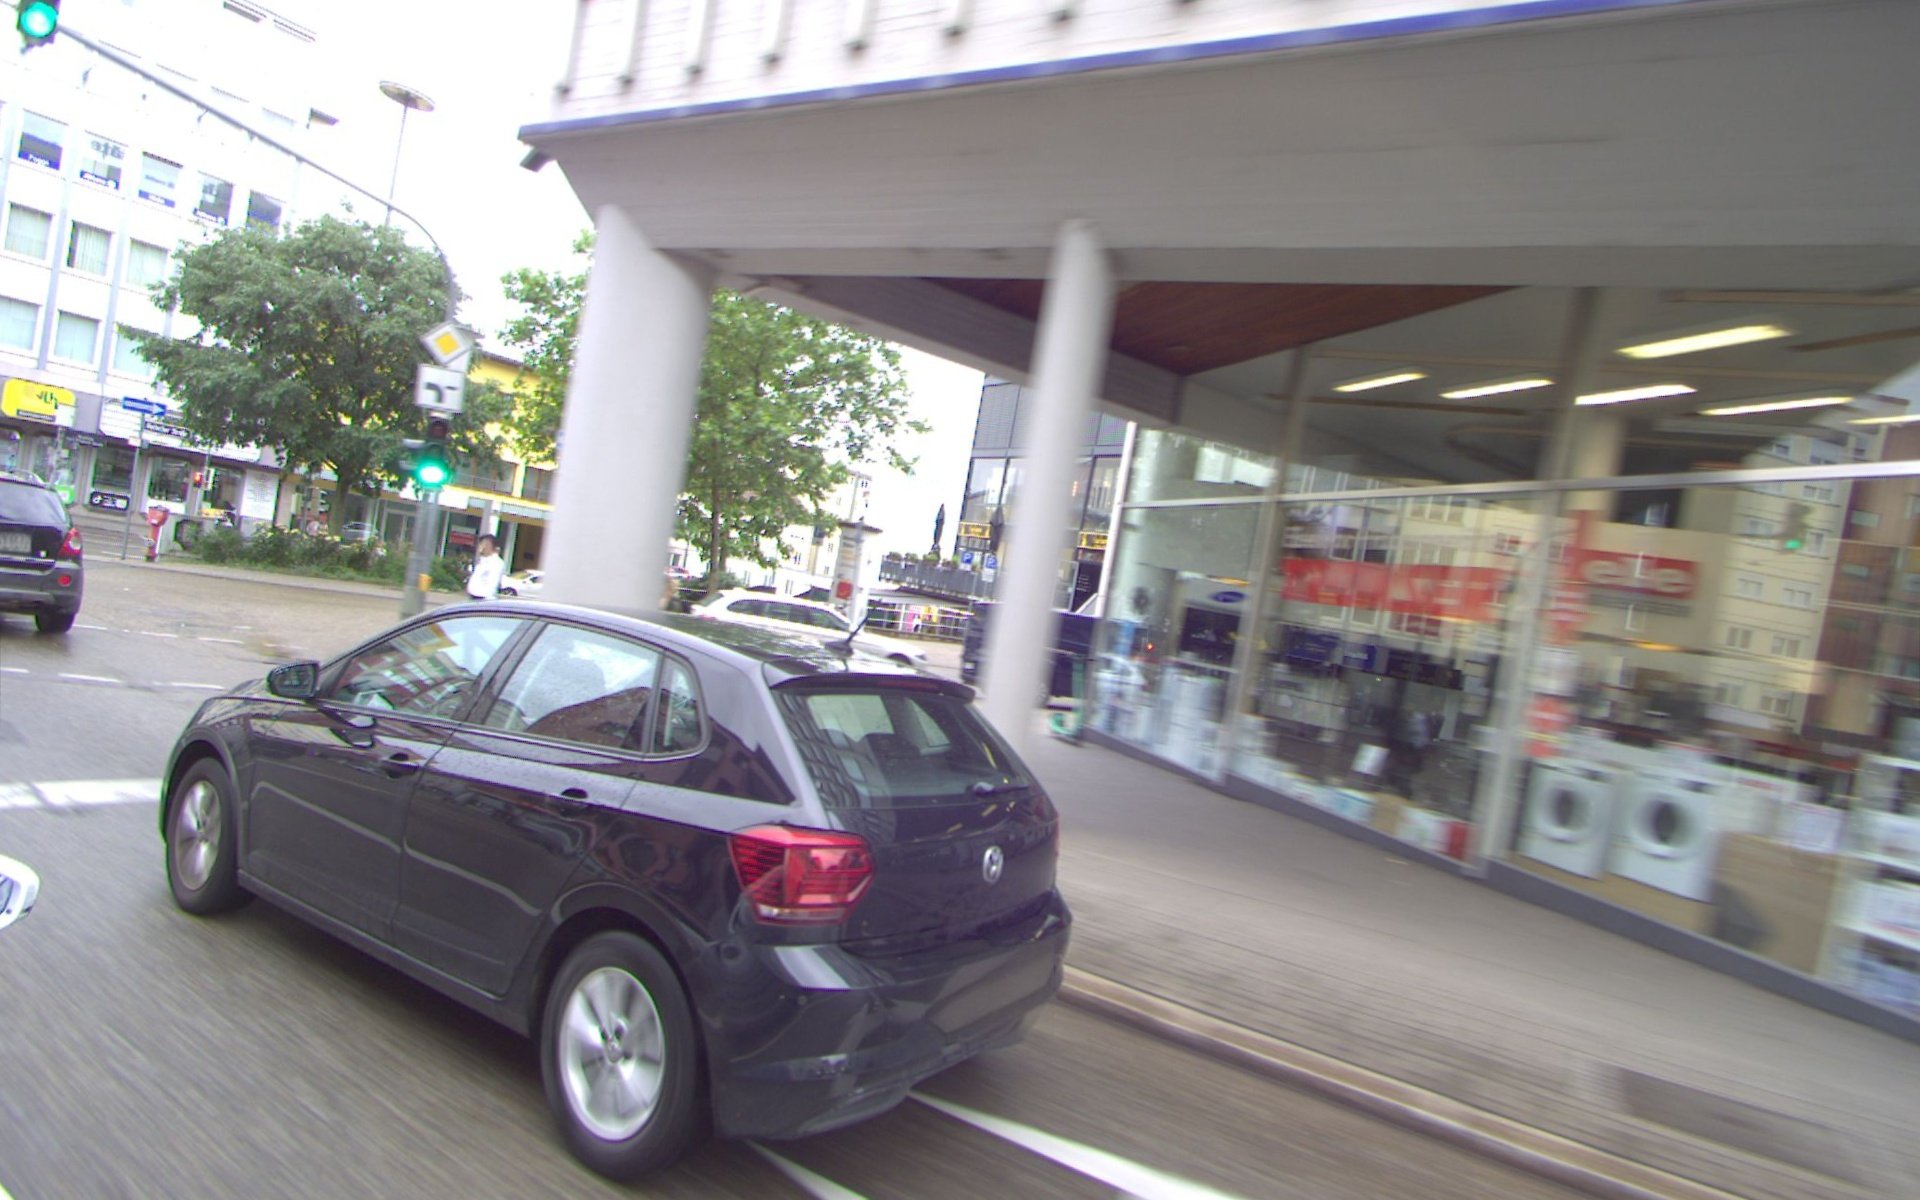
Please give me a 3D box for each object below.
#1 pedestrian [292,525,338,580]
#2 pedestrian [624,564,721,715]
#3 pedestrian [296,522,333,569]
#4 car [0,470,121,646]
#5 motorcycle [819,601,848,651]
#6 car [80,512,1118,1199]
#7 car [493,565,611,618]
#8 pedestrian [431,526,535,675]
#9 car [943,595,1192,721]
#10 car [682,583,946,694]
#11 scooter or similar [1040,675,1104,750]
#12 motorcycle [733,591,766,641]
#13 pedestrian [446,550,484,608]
[{"bbox_3d":[-24.055,-1.776,37.526,0.875,1.847,0.827,9,-2,23],"label":"pedestrian"},{"bbox_3d":[-3.485,0.472,12.163,0.718,1.711,0.821,5,1,-40],"label":"pedestrian"},{"bbox_3d":[-28.445,-2.384,44.309,0.666,1.845,0.894,7,-5,12],"label":"pedestrian"},{"bbox_3d":[-11.585,-0.687,11.397,4.433,1.714,1.900,7,-2,34],"label":"car"},{"bbox_3d":[-3.532,0.704,28.288,0.618,1.132,2.086,8,3,-6],"label":"motorcycle"},{"bbox_3d":[-1.606,0.668,4.032,3.934,1.492,1.693,7,-4,33],"label":"car"},{"bbox_3d":[-17.363,-0.331,42.963,1.803,1.430,4.184,13,2,43],"label":"car"},{"bbox_3d":[-6.331,0.013,13.366,0.815,1.841,0.723,8,2,22],"label":"pedestrian"},{"bbox_3d":[2.280,1.224,21.147,4.750,2.021,1.948,8,-1,-27],"label":"car"},{"bbox_3d":[-2.901,0.770,19.985,4.785,1.512,1.849,8,-1,-20],"label":"car"},{"bbox_3d":[1.488,1.492,13.498,0.303,0.834,1.121,7,0,-19],"label":"scooter or similar"},{"bbox_3d":[-5.939,0.427,28.294,0.620,1.131,1.932,8,3,-17],"label":"motorcycle"},{"bbox_3d":[-16.852,-0.709,34.267,0.670,1.845,0.712,2,-7,42],"label":"pedestrian"}]
